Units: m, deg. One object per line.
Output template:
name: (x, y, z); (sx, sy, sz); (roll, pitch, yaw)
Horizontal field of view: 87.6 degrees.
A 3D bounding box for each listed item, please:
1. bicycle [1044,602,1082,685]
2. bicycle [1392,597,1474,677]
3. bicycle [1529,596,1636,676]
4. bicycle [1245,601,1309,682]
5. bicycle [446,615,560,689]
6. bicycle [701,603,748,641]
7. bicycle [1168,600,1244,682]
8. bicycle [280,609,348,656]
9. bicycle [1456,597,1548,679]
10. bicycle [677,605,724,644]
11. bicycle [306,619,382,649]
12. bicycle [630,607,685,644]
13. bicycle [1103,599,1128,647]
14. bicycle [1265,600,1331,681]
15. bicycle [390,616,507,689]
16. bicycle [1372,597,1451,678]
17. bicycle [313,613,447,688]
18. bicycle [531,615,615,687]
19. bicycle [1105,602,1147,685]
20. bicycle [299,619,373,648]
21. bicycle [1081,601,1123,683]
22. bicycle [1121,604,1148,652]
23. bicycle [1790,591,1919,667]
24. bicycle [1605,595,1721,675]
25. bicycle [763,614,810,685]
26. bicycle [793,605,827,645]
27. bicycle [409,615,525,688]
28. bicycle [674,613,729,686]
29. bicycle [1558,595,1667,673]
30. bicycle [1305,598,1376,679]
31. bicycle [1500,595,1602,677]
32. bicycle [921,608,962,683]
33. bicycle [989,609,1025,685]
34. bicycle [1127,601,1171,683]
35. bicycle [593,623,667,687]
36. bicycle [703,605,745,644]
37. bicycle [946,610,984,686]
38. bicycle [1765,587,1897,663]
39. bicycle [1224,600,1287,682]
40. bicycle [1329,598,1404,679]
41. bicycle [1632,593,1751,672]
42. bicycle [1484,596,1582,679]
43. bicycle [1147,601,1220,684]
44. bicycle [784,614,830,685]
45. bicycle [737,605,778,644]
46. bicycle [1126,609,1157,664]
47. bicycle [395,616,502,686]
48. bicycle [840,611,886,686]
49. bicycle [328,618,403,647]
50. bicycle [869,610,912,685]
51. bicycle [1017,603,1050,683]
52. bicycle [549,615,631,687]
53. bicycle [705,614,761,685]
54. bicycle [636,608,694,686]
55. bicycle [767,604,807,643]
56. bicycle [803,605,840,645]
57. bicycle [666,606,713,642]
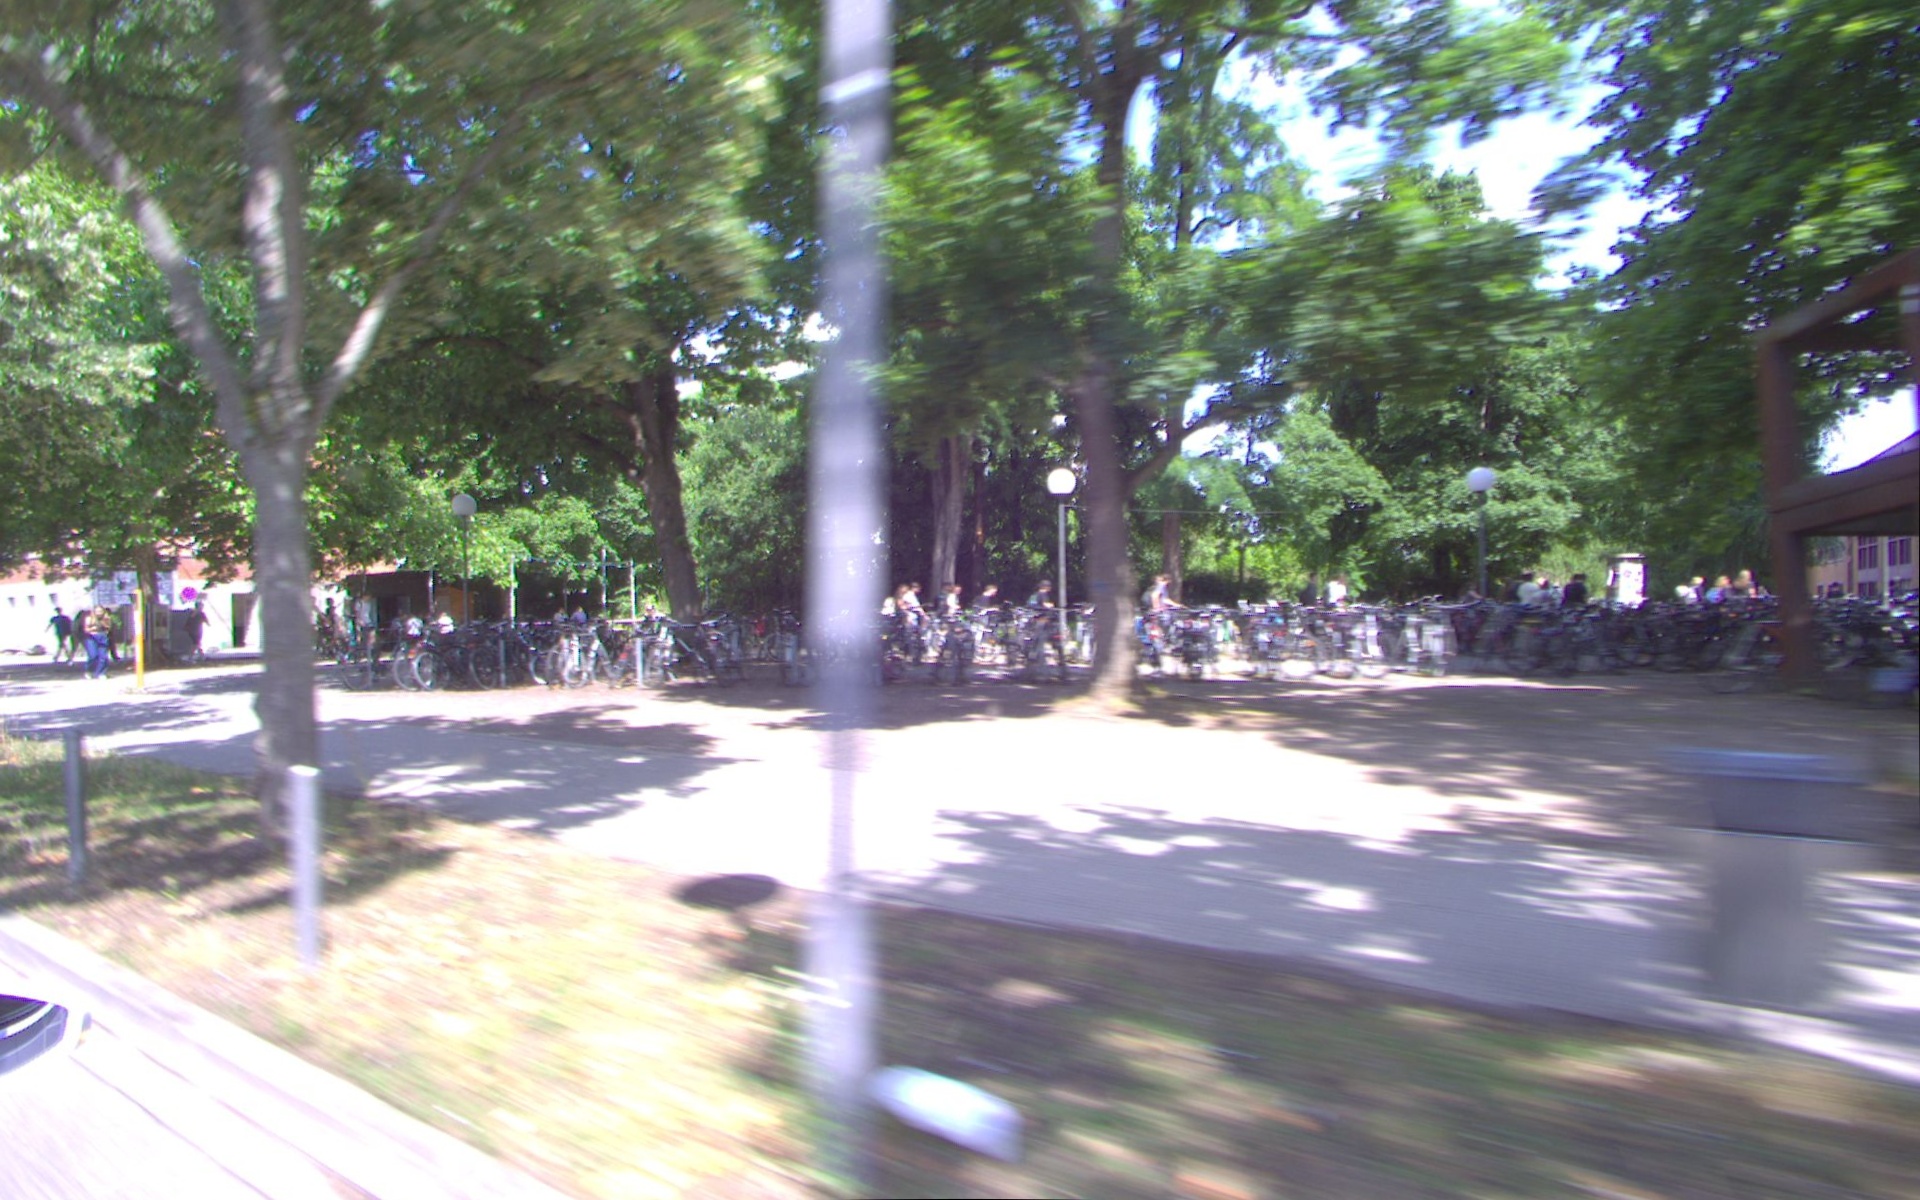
bicycle: (1.559, 0.633, 15.373); (0.395, 1.186, 1.793); (-1, 1, 0)
bicycle: (7.475, 0.546, 15.905); (0.346, 1.186, 1.844); (-1, 1, -3)
bicycle: (9.770, 0.534, 15.795); (0.406, 1.186, 1.844); (-1, 1, -5)
bicycle: (4.941, 0.612, 15.689); (0.339, 1.186, 1.844); (-1, 1, -3)
bicycle: (-7.486, 0.823, 16.513); (0.398, 1.097, 1.944); (0, 1, 22)
bicycle: (-7.009, 0.641, 29.888); (0.470, 1.053, 1.957); (-1, 1, 15)
bicycle: (3.779, 0.601, 15.521); (0.339, 1.186, 1.842); (-1, 1, -13)
bicycle: (-18.015, 0.915, 27.932); (1.705, 1.270, 0.530); (-1, 2, 14)
bicycle: (8.359, 0.548, 15.514); (0.346, 1.186, 1.844); (-1, 1, -3)
bicycle: (-7.732, 0.715, 29.939); (0.427, 1.053, 1.957); (-1, 1, 15)
bicycle: (-23.965, 1.319, 39.010); (0.774, 1.086, 2.384); (-1, 0, 41)
bicycle: (-9.046, 0.753, 30.023); (0.601, 0.992, 1.957); (-1, 1, 15)
bicycle: (3.485, 0.500, 22.488); (0.371, 0.992, 1.903); (-1, 1, 4)
bicycle: (5.273, 0.600, 15.702); (0.339, 1.186, 1.844); (-1, 1, -3)
bicycle: (-8.558, 0.848, 16.845); (0.398, 1.097, 1.944); (0, 1, 22)
bicycle: (7.123, 0.557, 15.884); (0.346, 1.186, 1.844); (-1, 1, -3)
bicycle: (-9.971, 0.838, 17.317); (0.641, 1.182, 2.015); (0, 1, 22)
bicycle: (-6.387, 0.812, 16.637); (0.319, 1.073, 1.912); (0, 1, 11)
bicycle: (2.565, 0.636, 15.559); (0.338, 1.186, 1.845); (-1, 1, 0)
bicycle: (-24.663, 1.313, 39.590); (2.379, 1.086, 0.775); (-1, 0, -43)
bicycle: (2.200, 0.618, 15.660); (0.395, 1.186, 1.845); (-1, 1, 0)
bicycle: (3.879, 0.602, 22.328); (0.371, 0.992, 1.903); (-1, 1, 4)
bicycle: (14.863, 0.456, 16.639); (0.339, 1.186, 1.843); (-1, 1, -11)
bicycle: (11.117, 0.514, 15.908); (0.406, 1.186, 1.844); (-1, 1, -5)
bicycle: (-2.775, 0.768, 16.132); (0.374, 1.042, 1.793); (-1, 1, 2)
bicycle: (-4.320, 0.708, 28.928); (0.341, 1.053, 1.751); (-1, 1, 13)
bicycle: (-8.163, 0.825, 16.691); (0.398, 1.097, 1.944); (0, 1, 22)
bicycle: (-4.132, 0.760, 16.088); (0.485, 1.066, 1.738); (-1, 1, -2)
bicycle: (10.417, 0.509, 16.058); (0.406, 1.186, 1.844); (-1, 1, -5)
bicycle: (5.979, 0.572, 15.823); (0.346, 1.186, 1.844); (-1, 1, -3)
bicycle: (9.176, 0.526, 15.629); (0.381, 1.186, 1.844); (-1, 1, -5)
bicycle: (-0.279, 0.688, 15.879); (0.418, 1.084, 1.792); (-1, 1, 6)
bicycle: (0.712, 0.699, 15.650); (0.418, 1.084, 1.792); (-1, 1, -2)
bicycle: (2.911, 0.617, 15.540); (0.338, 1.186, 1.845); (-1, 1, 0)
bicycle: (-5.332, 0.865, 16.265); (0.485, 0.921, 1.738); (-1, 1, 5)
bicycle: (-6.835, 0.687, 29.040); (0.427, 1.053, 1.782); (-1, 1, 13)
bicycle: (0.096, 0.711, 15.558); (0.418, 1.084, 1.792); (-1, 1, 6)
bicycle: (14.496, 0.390, 16.733); (0.339, 1.186, 1.843); (-1, 1, -11)
bicycle: (4.601, 0.604, 15.674); (0.339, 1.186, 1.844); (-1, 1, -3)
bicycle: (6.351, 0.562, 15.730); (0.346, 1.186, 1.844); (-1, 1, -3)
bicycle: (11.602, 0.486, 15.955); (0.406, 1.186, 1.844); (-1, 1, -5)
bicycle: (8.743, 0.543, 15.354); (0.381, 1.186, 1.844); (-1, 1, -3)
bicycle: (3.419, 0.616, 15.448); (0.339, 1.186, 1.842); (-1, 1, -13)
bicycle: (-2.428, 0.761, 16.018); (0.374, 1.042, 1.793); (-1, 1, 3)
bicycle: (-5.929, 0.707, 29.464); (0.470, 1.053, 1.782); (-1, 1, 13)
bicycle: (3.590, 0.701, 19.919); (0.371, 0.992, 1.903); (-1, 1, 4)
bicycle: (-8.767, 0.848, 17.230); (0.431, 1.097, 1.768); (0, 1, 22)
bicycle: (-1.506, 0.730, 15.767); (0.418, 1.084, 1.792); (-1, 1, 4)
bicycle: (-22.880, 1.251, 38.581); (2.381, 1.085, 0.775); (1, -1, -44)
bicycle: (-1.075, 0.718, 15.750); (0.418, 1.084, 1.792); (-1, 1, 4)
bicycle: (1.162, 0.654, 16.070); (0.395, 1.186, 1.793); (-1, 1, 0)
bicycle: (-6.089, 0.806, 16.578); (0.319, 1.073, 1.912); (0, 1, 11)
bicycle: (-3.662, 0.772, 16.259); (0.432, 1.042, 1.796); (-1, 1, 2)
bicycle: (-4.827, 0.738, 16.460); (0.485, 1.170, 1.738); (-1, 1, -2)
bicycle: (-5.065, 0.668, 29.422); (0.470, 1.053, 1.830); (-1, 1, 13)
bicycle: (-3.975, 0.702, 28.853); (0.470, 1.053, 1.751); (-1, 1, 13)
bicycle: (-8.120, 0.717, 30.158); (0.430, 0.992, 1.957); (-1, 1, 15)
